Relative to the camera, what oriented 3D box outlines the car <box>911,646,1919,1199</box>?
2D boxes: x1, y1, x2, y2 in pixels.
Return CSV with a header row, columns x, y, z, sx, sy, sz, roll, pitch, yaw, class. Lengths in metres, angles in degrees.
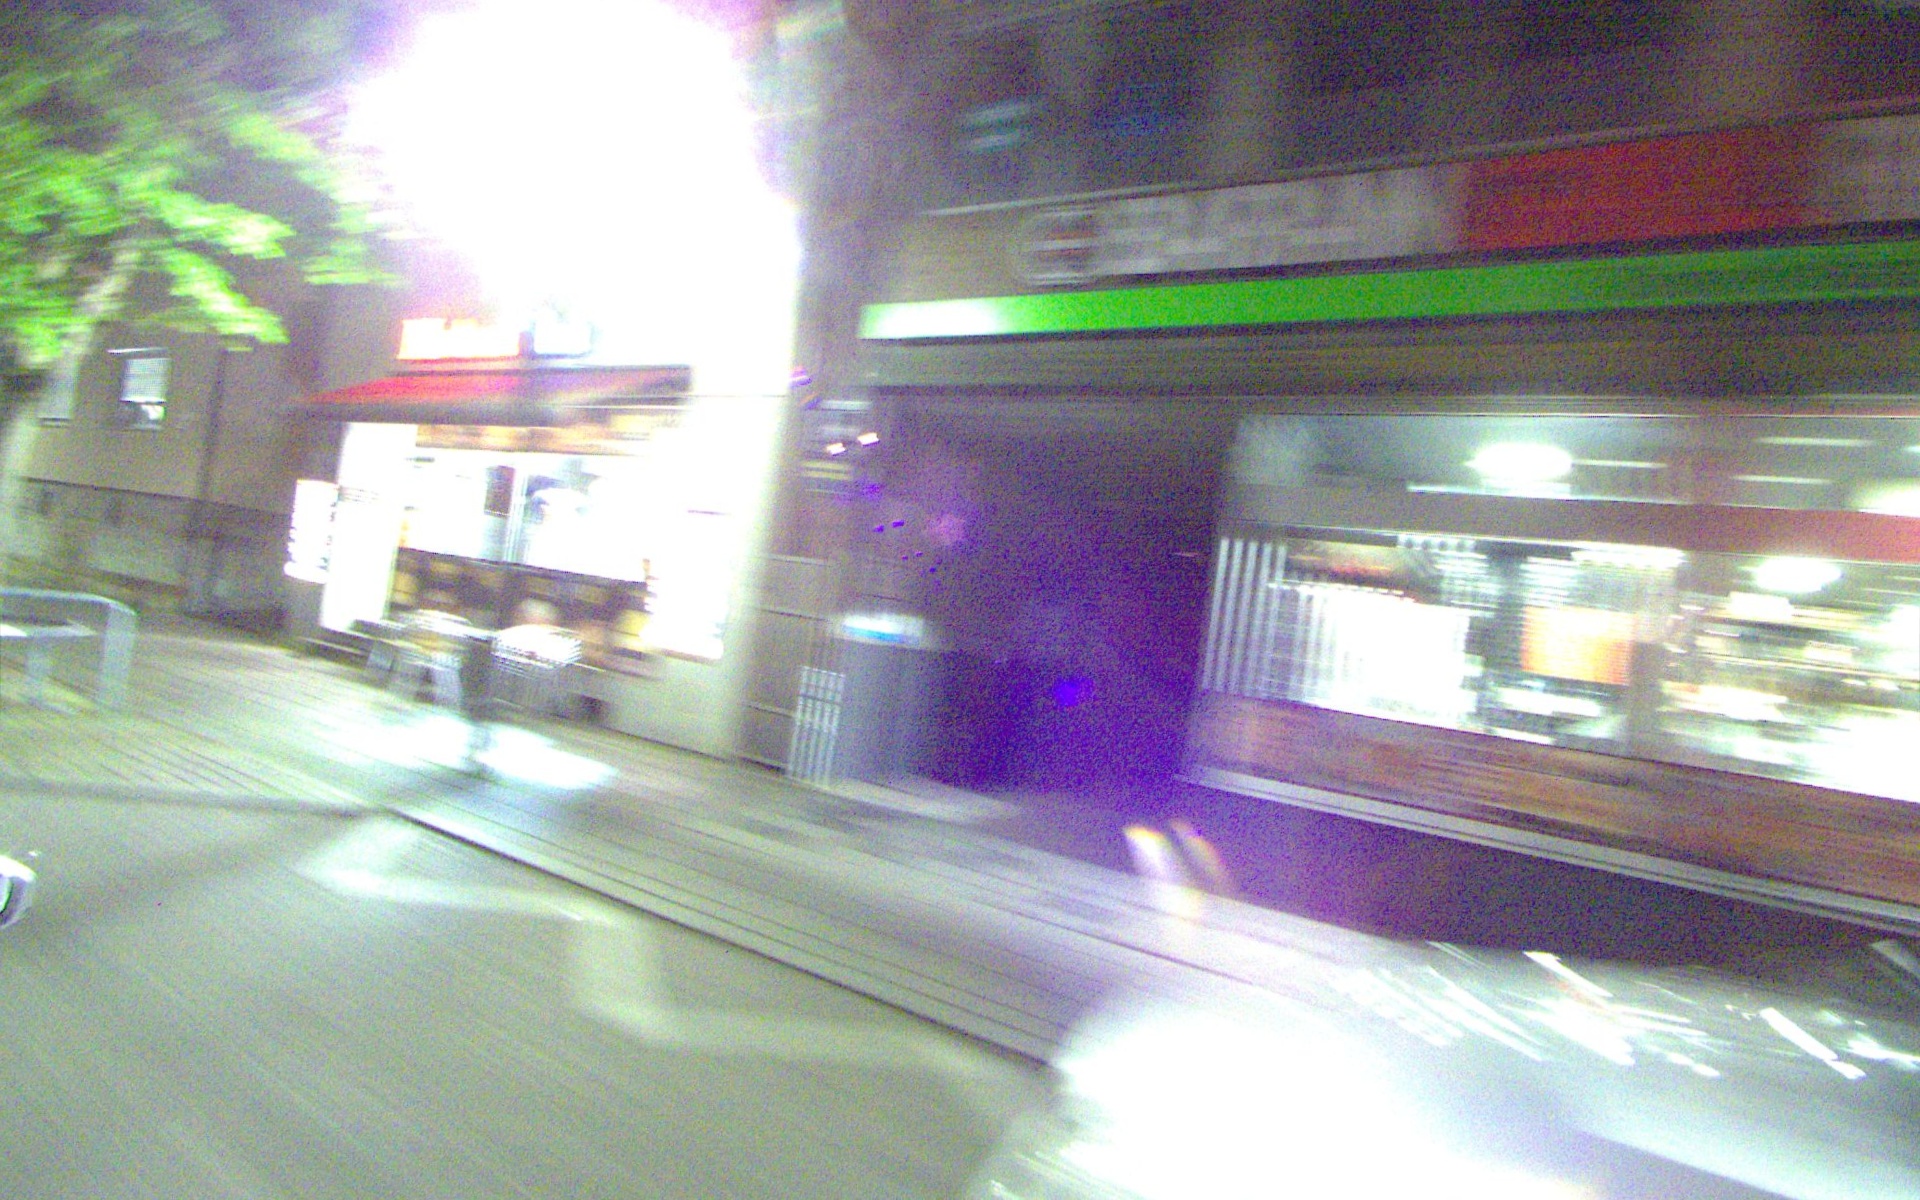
x,y,z,sx,sy,sz,roll,pitch,yaw,class
2.266,1.097,1.009,4.417,1.458,1.739,7,-1,27,car
